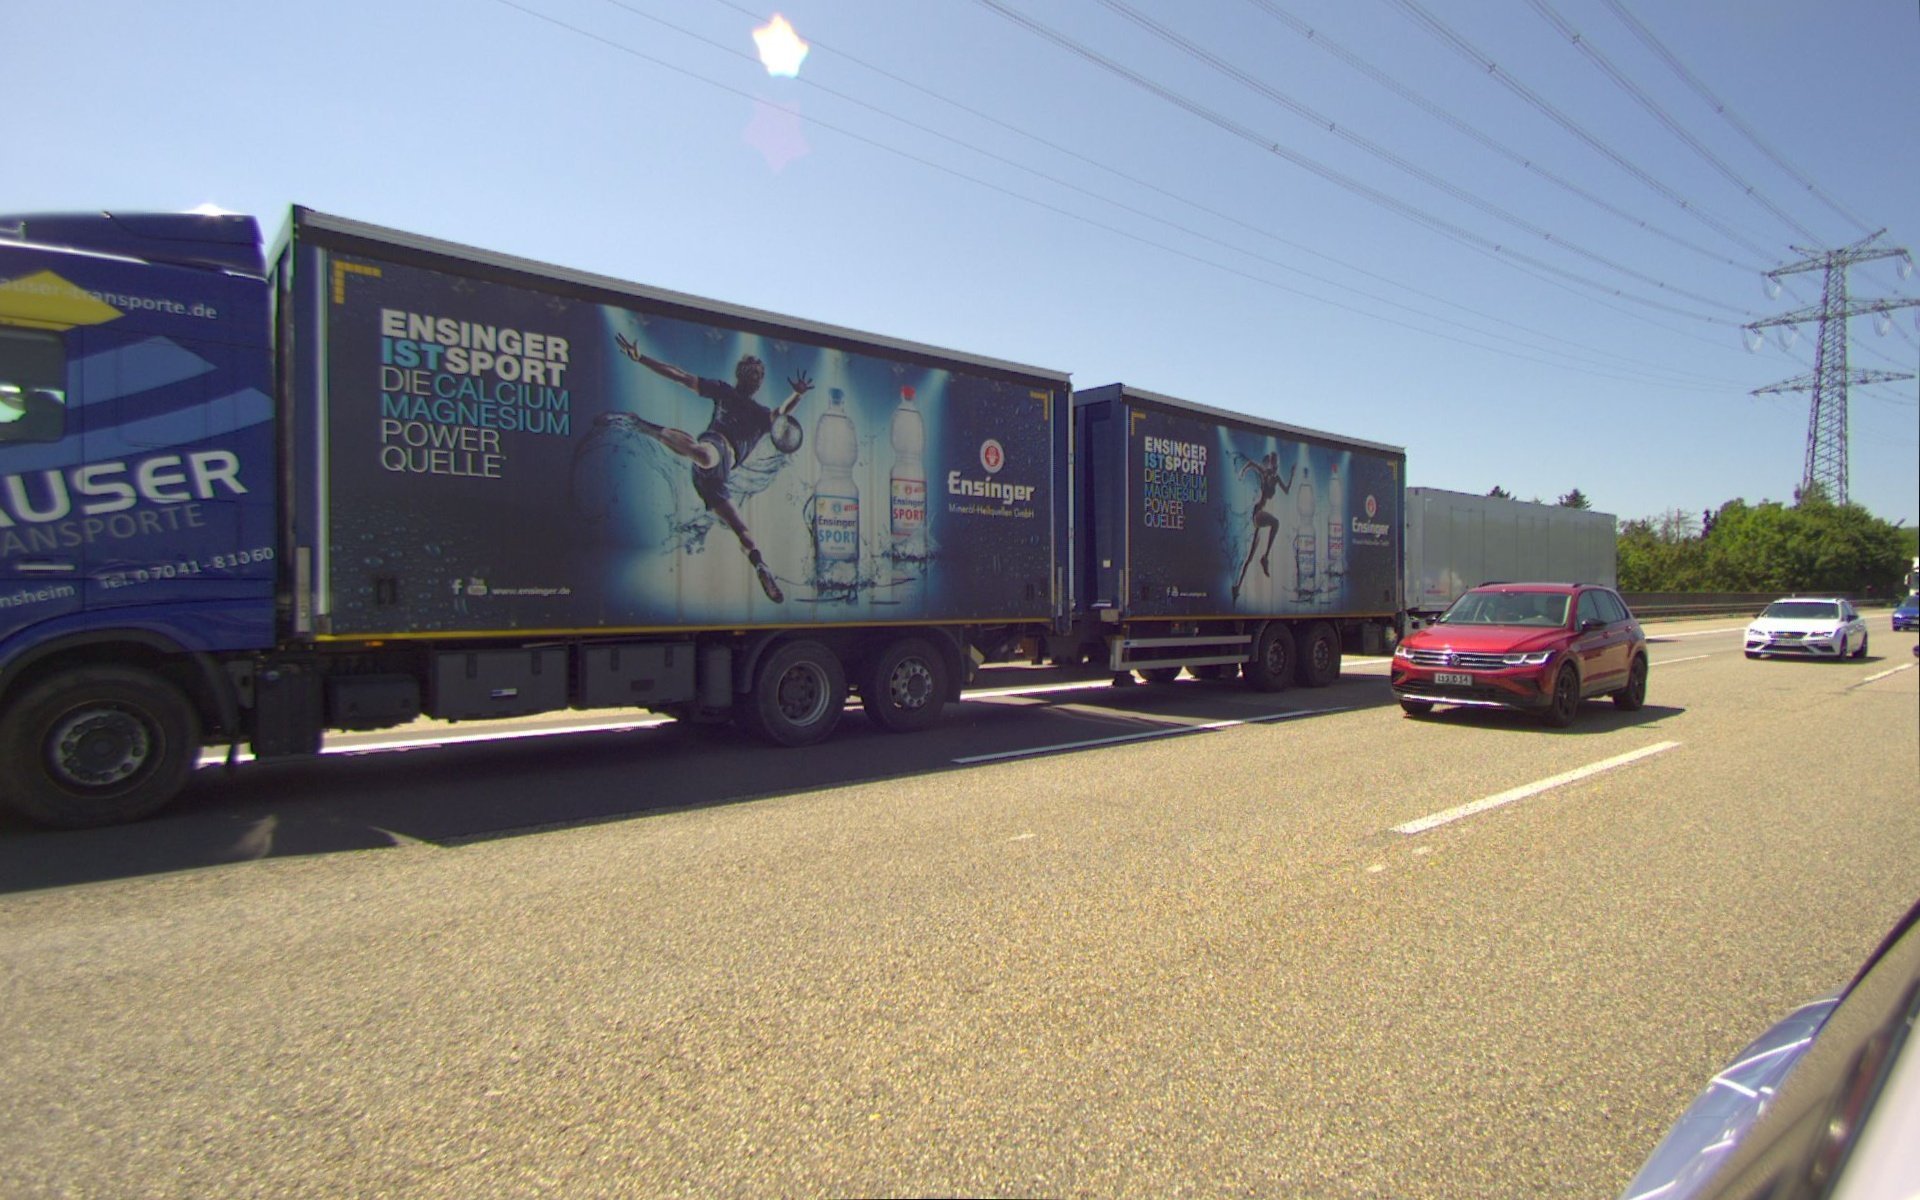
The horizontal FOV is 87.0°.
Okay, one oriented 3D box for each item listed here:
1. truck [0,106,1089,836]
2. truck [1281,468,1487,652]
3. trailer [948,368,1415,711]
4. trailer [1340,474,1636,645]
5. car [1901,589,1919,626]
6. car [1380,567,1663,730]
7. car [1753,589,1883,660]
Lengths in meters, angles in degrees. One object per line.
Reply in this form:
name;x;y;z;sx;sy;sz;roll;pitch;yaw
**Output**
truck;-3.174;-0.761;9.353;10.265;4.118;2.527;0;0;-41
truck;10.835;-0.937;25.674;5.613;4.171;2.522;0;0;-39
trailer;3.805;-0.741;15.512;8.331;3.994;2.570;0;0;-41
trailer;16.041;-1.029;29.861;13.524;4.172;2.541;0;0;-39
car;39.846;0.295;41.194;4.135;1.463;1.739;0;1;-40
car;7.029;0.477;12.492;4.151;1.683;1.778;0;1;-41
car;20.065;0.503;23.607;4.003;1.508;1.841;-1;0;-43
